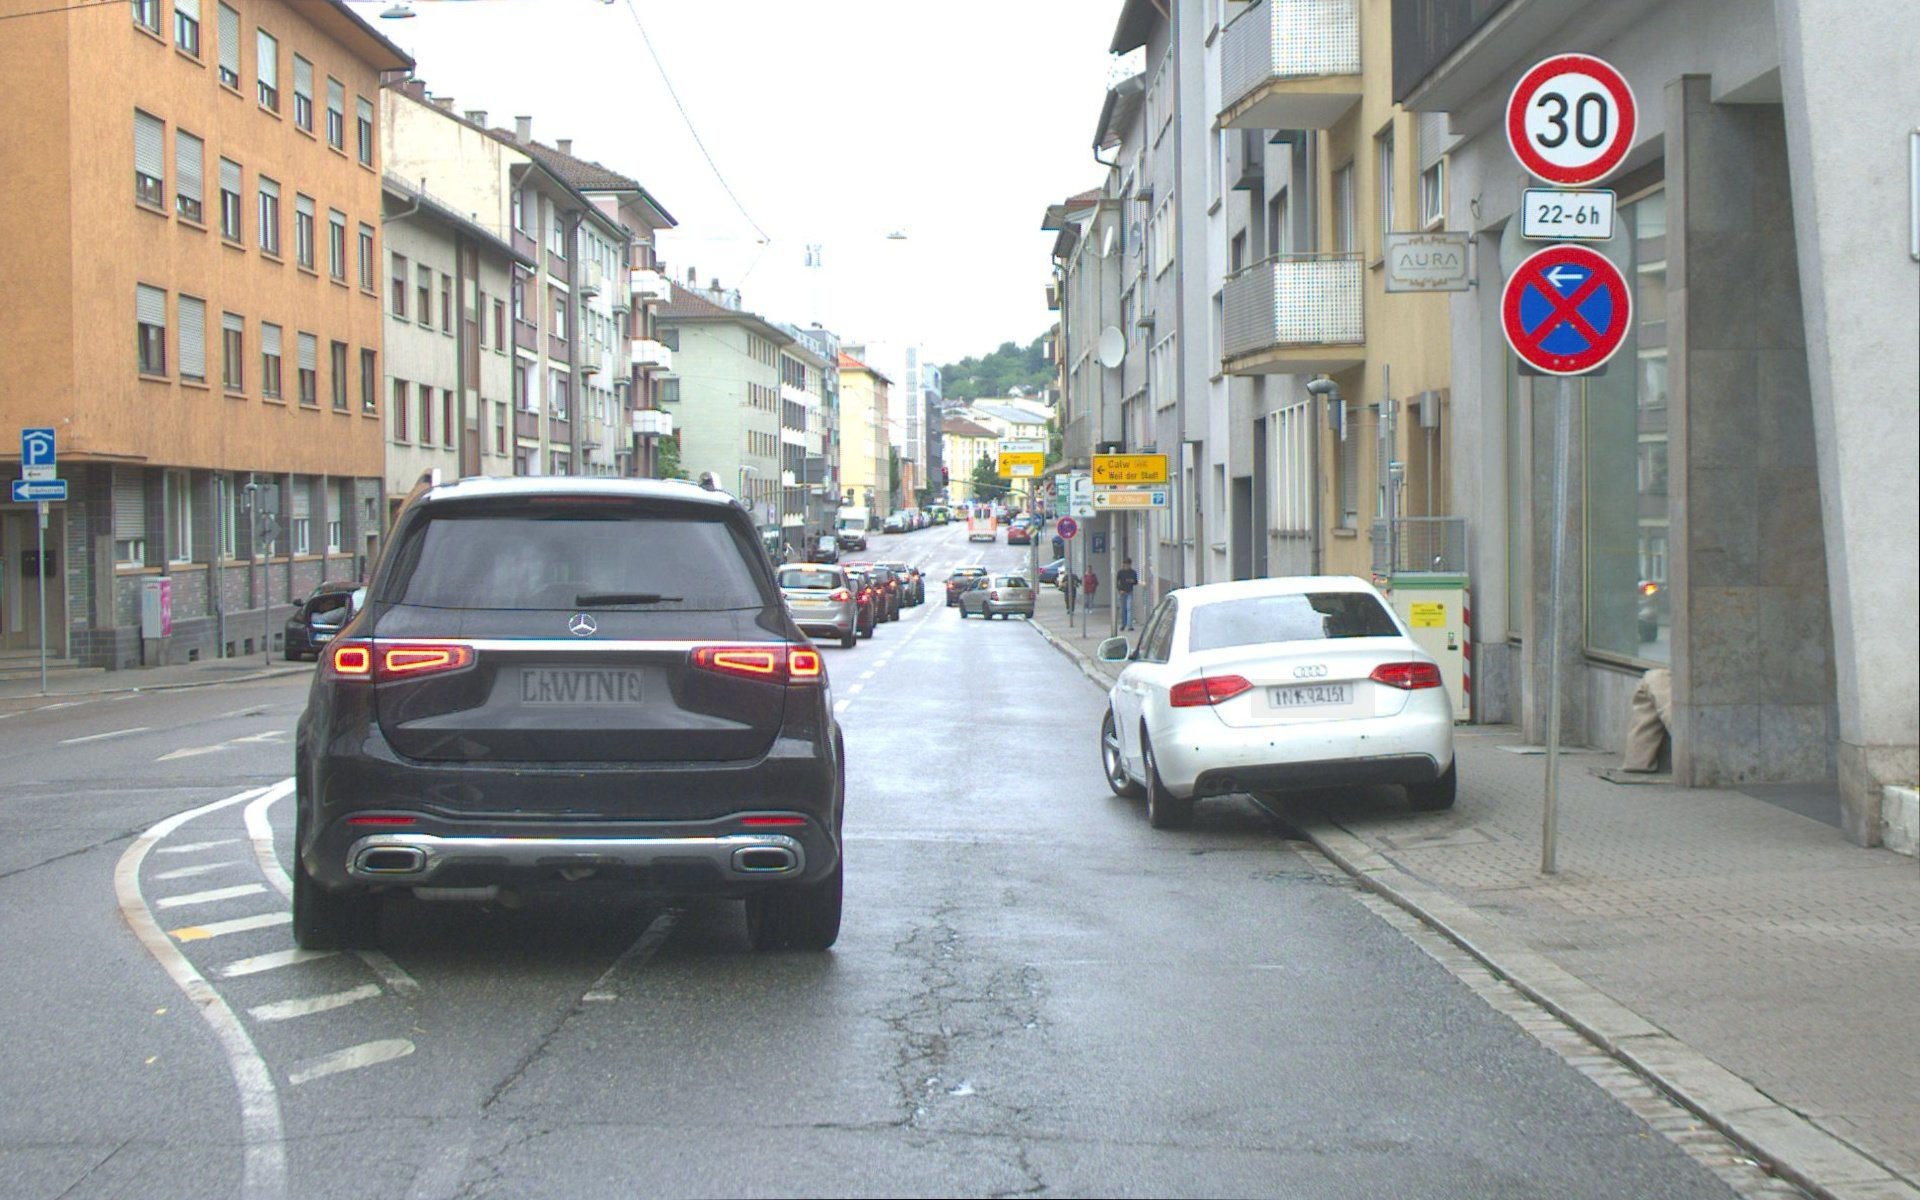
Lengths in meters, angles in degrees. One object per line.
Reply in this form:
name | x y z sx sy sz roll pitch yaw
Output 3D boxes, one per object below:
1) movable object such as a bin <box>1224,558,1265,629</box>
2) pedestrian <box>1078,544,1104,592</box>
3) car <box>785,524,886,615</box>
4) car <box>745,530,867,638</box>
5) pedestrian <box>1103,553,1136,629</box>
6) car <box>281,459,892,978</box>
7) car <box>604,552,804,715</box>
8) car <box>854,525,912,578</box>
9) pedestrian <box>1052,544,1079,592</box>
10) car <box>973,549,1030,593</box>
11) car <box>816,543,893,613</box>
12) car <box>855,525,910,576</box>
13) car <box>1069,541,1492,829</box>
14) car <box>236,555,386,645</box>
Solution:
movable object such as a bin | 4.003 -0.095 48.411 0.473 0.959 0.564 -4 1 2
pedestrian | 4.268 -1.052 111.983 0.821 1.560 0.899 1 1 3
car | -2.807 -0.717 78.372 1.994 2.007 4.000 1 1 2
car | -2.941 -0.336 66.479 1.994 2.007 4.000 1 1 2
pedestrian | 3.761 -0.222 81.084 0.655 1.746 0.741 -3 1 5
car | -1.652 0.348 14.081 2.075 1.759 4.612 0 1 -10
car | -2.591 0.299 35.591 1.893 1.505 4.174 2 1 -2
car | -3.000 -1.904 134.424 1.994 2.007 4.000 1 1 2
pedestrian | 3.439 -1.049 112.032 0.821 1.560 0.899 1 1 3
car | 1.371 -0.986 114.043 1.734 1.383 4.583 1 1 -1
car | -3.106 -0.673 101.992 1.994 2.007 4.000 1 1 2
car | -3.132 -2.028 139.833 1.994 2.007 4.000 1 1 2
car | 1.854 0.433 21.388 1.893 1.398 4.609 -6 1 -2
car | -11.322 -0.030 60.263 1.891 1.453 4.550 1 1 -2
